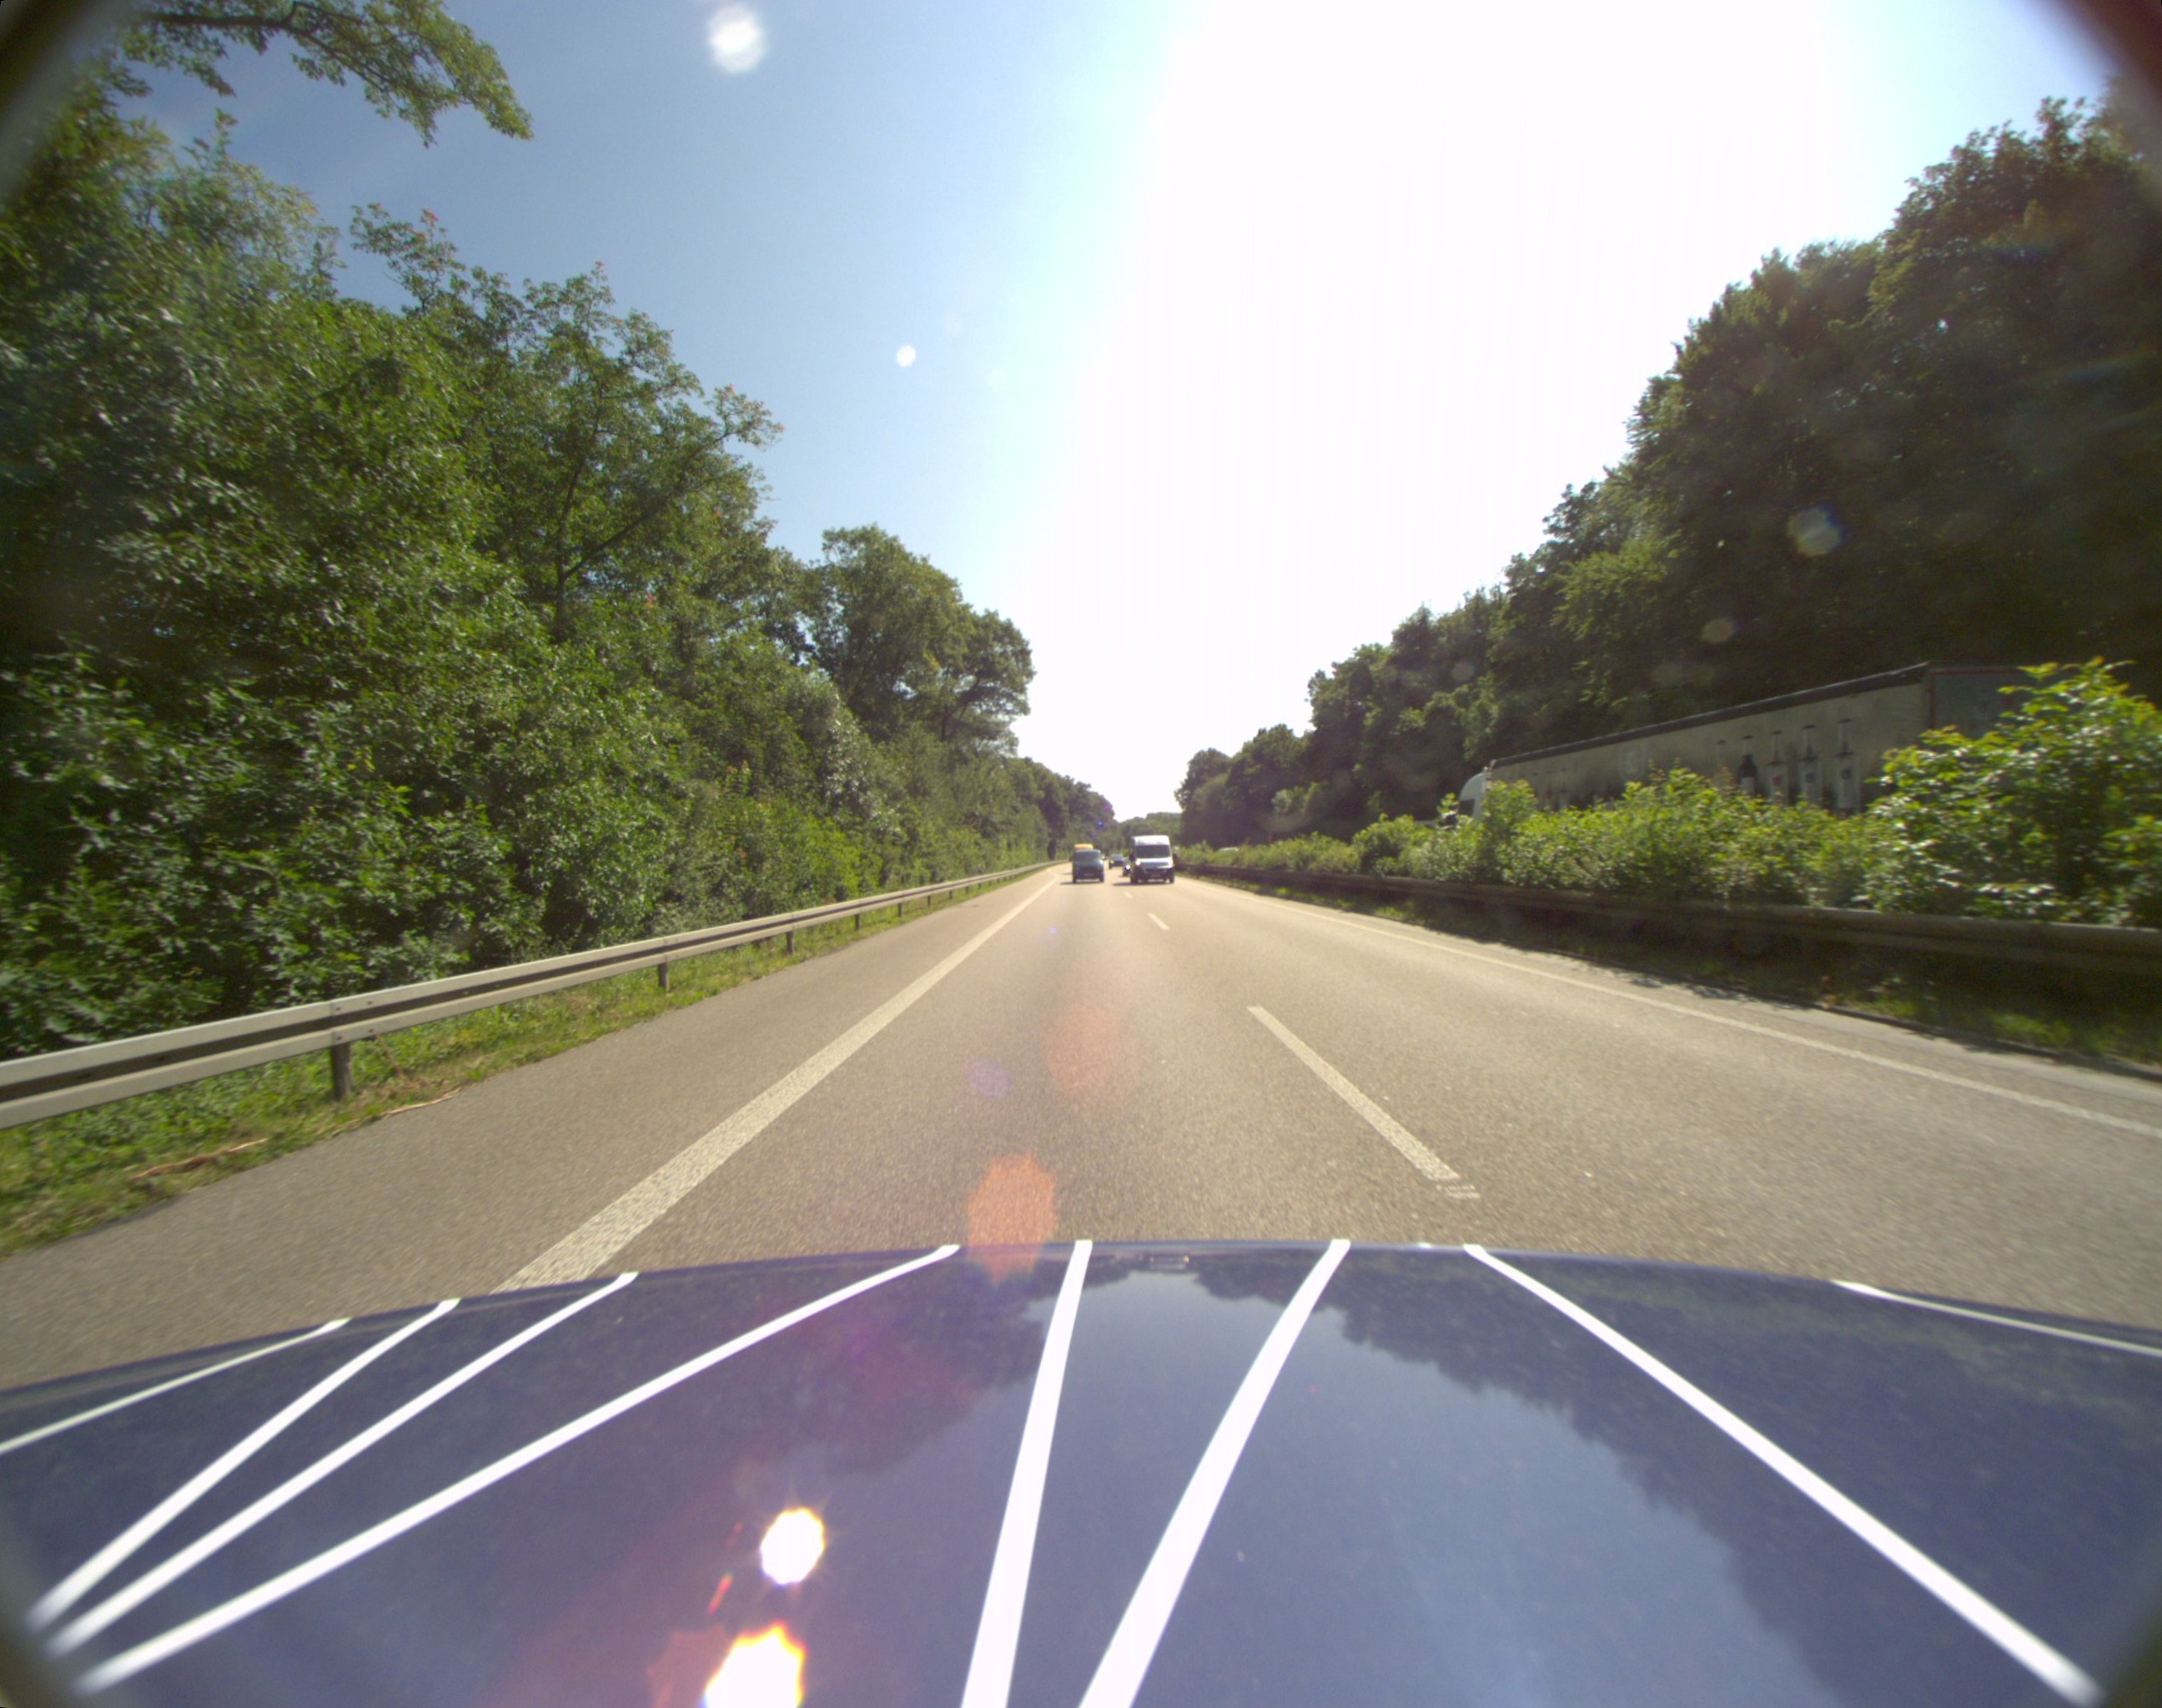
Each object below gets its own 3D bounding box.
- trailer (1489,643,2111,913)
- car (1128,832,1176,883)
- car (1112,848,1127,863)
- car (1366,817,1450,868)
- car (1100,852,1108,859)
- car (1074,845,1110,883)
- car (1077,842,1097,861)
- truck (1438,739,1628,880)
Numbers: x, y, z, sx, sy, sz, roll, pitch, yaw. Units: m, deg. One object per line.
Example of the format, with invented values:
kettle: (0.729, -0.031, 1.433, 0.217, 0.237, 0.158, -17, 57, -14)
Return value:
trailer: (15.401, -1.311, 19.208, 2.836, 4.275, 13.662, -2, 1, 1)
car: (3.661, 0.156, 39.816, 2.046, 2.429, 4.637, -2, 1, 1)
car: (4.294, 0.182, 85.570, 1.517, 1.624, 3.611, -2, 1, 1)
car: (11.993, -0.420, 28.119, 1.611, 1.696, 3.481, -2, 1, 1)
car: (6.258, 0.388, 205.017, 1.998, 2.002, 4.000, -2, 1, 4)
car: (0.608, 0.518, 42.449, 1.812, 1.921, 4.581, -2, 1, 1)
car: (0.585, -0.257, 70.164, 1.737, 1.624, 3.899, -2, 1, 1)
truck: (15.445, -1.406, 26.638, 2.724, 4.219, 6.536, -2, 1, 1)
